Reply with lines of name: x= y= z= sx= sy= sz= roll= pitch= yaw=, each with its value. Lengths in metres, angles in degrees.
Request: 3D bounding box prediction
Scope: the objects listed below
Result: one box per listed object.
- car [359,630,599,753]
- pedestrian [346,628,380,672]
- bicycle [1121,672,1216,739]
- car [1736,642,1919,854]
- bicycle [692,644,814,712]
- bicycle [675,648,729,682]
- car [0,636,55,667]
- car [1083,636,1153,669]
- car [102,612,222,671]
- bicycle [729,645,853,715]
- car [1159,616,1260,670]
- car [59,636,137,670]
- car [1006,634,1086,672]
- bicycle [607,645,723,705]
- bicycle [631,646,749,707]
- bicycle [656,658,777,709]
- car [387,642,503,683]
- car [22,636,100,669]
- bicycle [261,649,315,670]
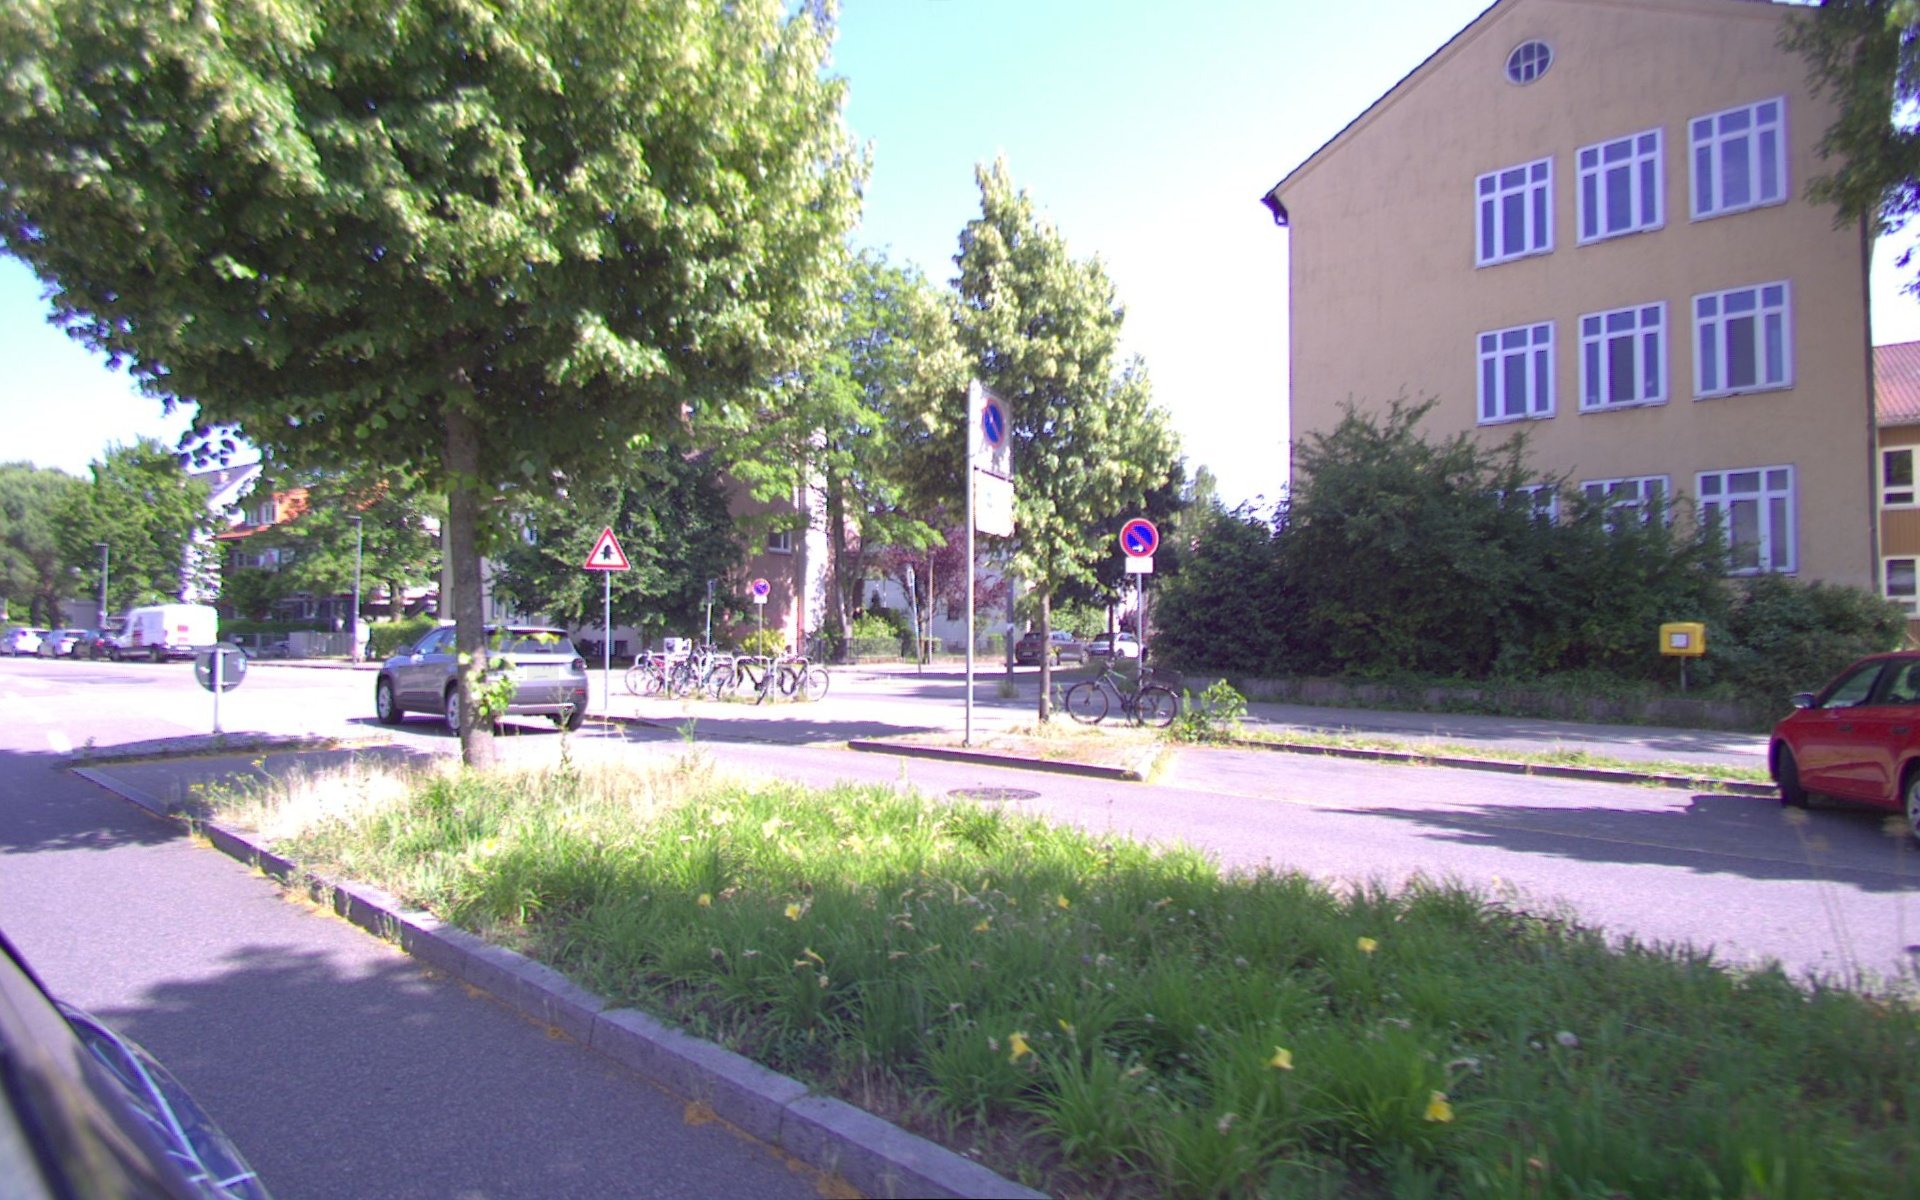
car: x=-7.164 y=1.256 z=14.913 sx=4.072 sy=1.559 sz=1.723 roll=-2 pitch=-4 yaw=42
pedestrian: x=-24.892 y=2.073 z=42.201 sx=0.724 sy=1.793 sz=0.964 roll=-2 pitch=-3 yaw=37
bicycle: x=3.056 y=1.525 z=14.853 sx=1.268 sy=0.910 sz=0.516 roll=-1 pitch=-4 yaw=36
car: x=8.072 y=1.098 z=7.927 sx=1.985 sy=1.478 sz=3.973 roll=-1 pitch=-4 yaw=20
bicycle: x=-4.090 y=1.542 z=20.191 sx=0.738 sy=1.266 sz=2.490 roll=-3 pitch=-5 yaw=38
bicycle: x=-8.400 y=2.105 z=33.000 sx=1.689 sy=1.089 sz=0.378 roll=0 pitch=-3 yaw=-8
car: x=-50.054 y=2.745 z=53.914 sx=3.988 sy=1.571 sz=1.706 roll=-2 pitch=-4 yaw=33
car: x=7.657 y=2.533 z=48.805 sx=1.746 sy=1.564 sz=3.747 roll=-3 pitch=-4 yaw=38
car: x=-35.535 y=1.883 z=45.023 sx=5.928 sy=2.516 sz=2.074 roll=-2 pitch=-4 yaw=30
bicycle: x=-3.210 y=1.495 z=19.476 sx=0.738 sy=1.266 sz=2.520 roll=-2 pitch=-3 yaw=38
car: x=12.526 y=2.206 z=50.513 sx=2.283 sy=2.544 sz=6.047 roll=-2 pitch=-5 yaw=43
car: x=-40.779 y=2.512 z=47.861 sx=3.988 sy=1.571 sz=1.706 roll=-2 pitch=-4 yaw=33
car: x=3.797 y=2.320 z=44.368 sx=1.746 sy=1.564 sz=3.747 roll=-3 pitch=-4 yaw=38
bicycle: x=-6.531 y=1.661 z=22.585 sx=0.738 sy=1.266 sz=2.520 roll=-3 pitch=-5 yaw=38
bicycle: x=-5.792 y=1.636 z=21.871 sx=0.738 sy=1.249 sz=2.520 roll=-3 pitch=-5 yaw=38
bicycle: x=-4.994 y=1.705 z=20.934 sx=0.738 sy=0.995 sz=2.520 roll=-3 pitch=-5 yaw=38
car: x=-17.174 y=2.079 z=33.711 sx=3.988 sy=1.276 sz=1.706 roll=-2 pitch=-4 yaw=33
car: x=-45.076 y=2.632 z=50.728 sx=4.659 sy=1.571 sz=1.706 roll=-2 pitch=-4 yaw=33
bicycle: x=-32.784 y=2.897 z=49.399 sx=0.774 sy=1.009 sz=2.050 roll=-2 pitch=-3 yaw=34
